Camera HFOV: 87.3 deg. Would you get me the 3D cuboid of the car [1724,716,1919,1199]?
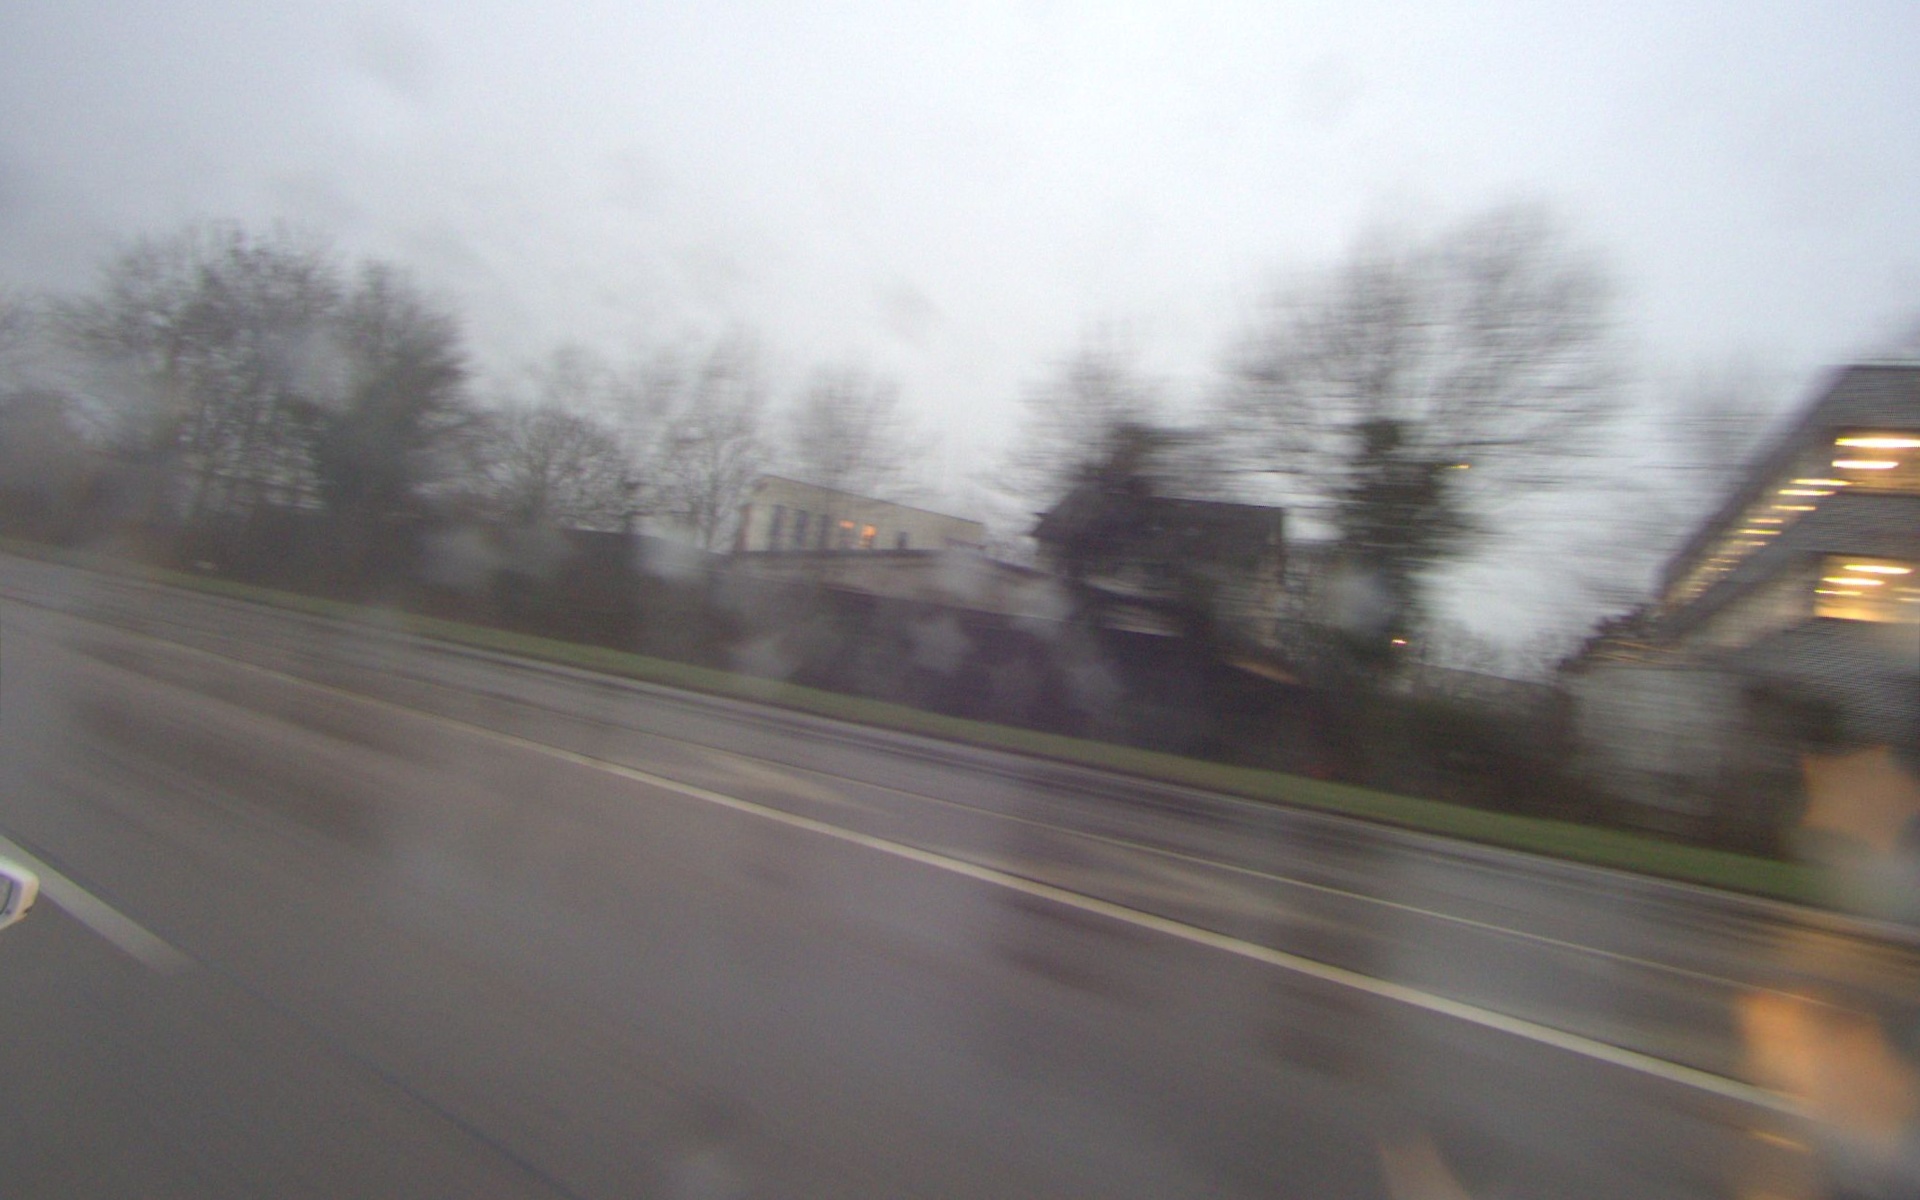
[{"bbox_3d":[4.136,1.296,1.727,4.192,1.518,1.854,6,-3,32],"label":"car"}]
